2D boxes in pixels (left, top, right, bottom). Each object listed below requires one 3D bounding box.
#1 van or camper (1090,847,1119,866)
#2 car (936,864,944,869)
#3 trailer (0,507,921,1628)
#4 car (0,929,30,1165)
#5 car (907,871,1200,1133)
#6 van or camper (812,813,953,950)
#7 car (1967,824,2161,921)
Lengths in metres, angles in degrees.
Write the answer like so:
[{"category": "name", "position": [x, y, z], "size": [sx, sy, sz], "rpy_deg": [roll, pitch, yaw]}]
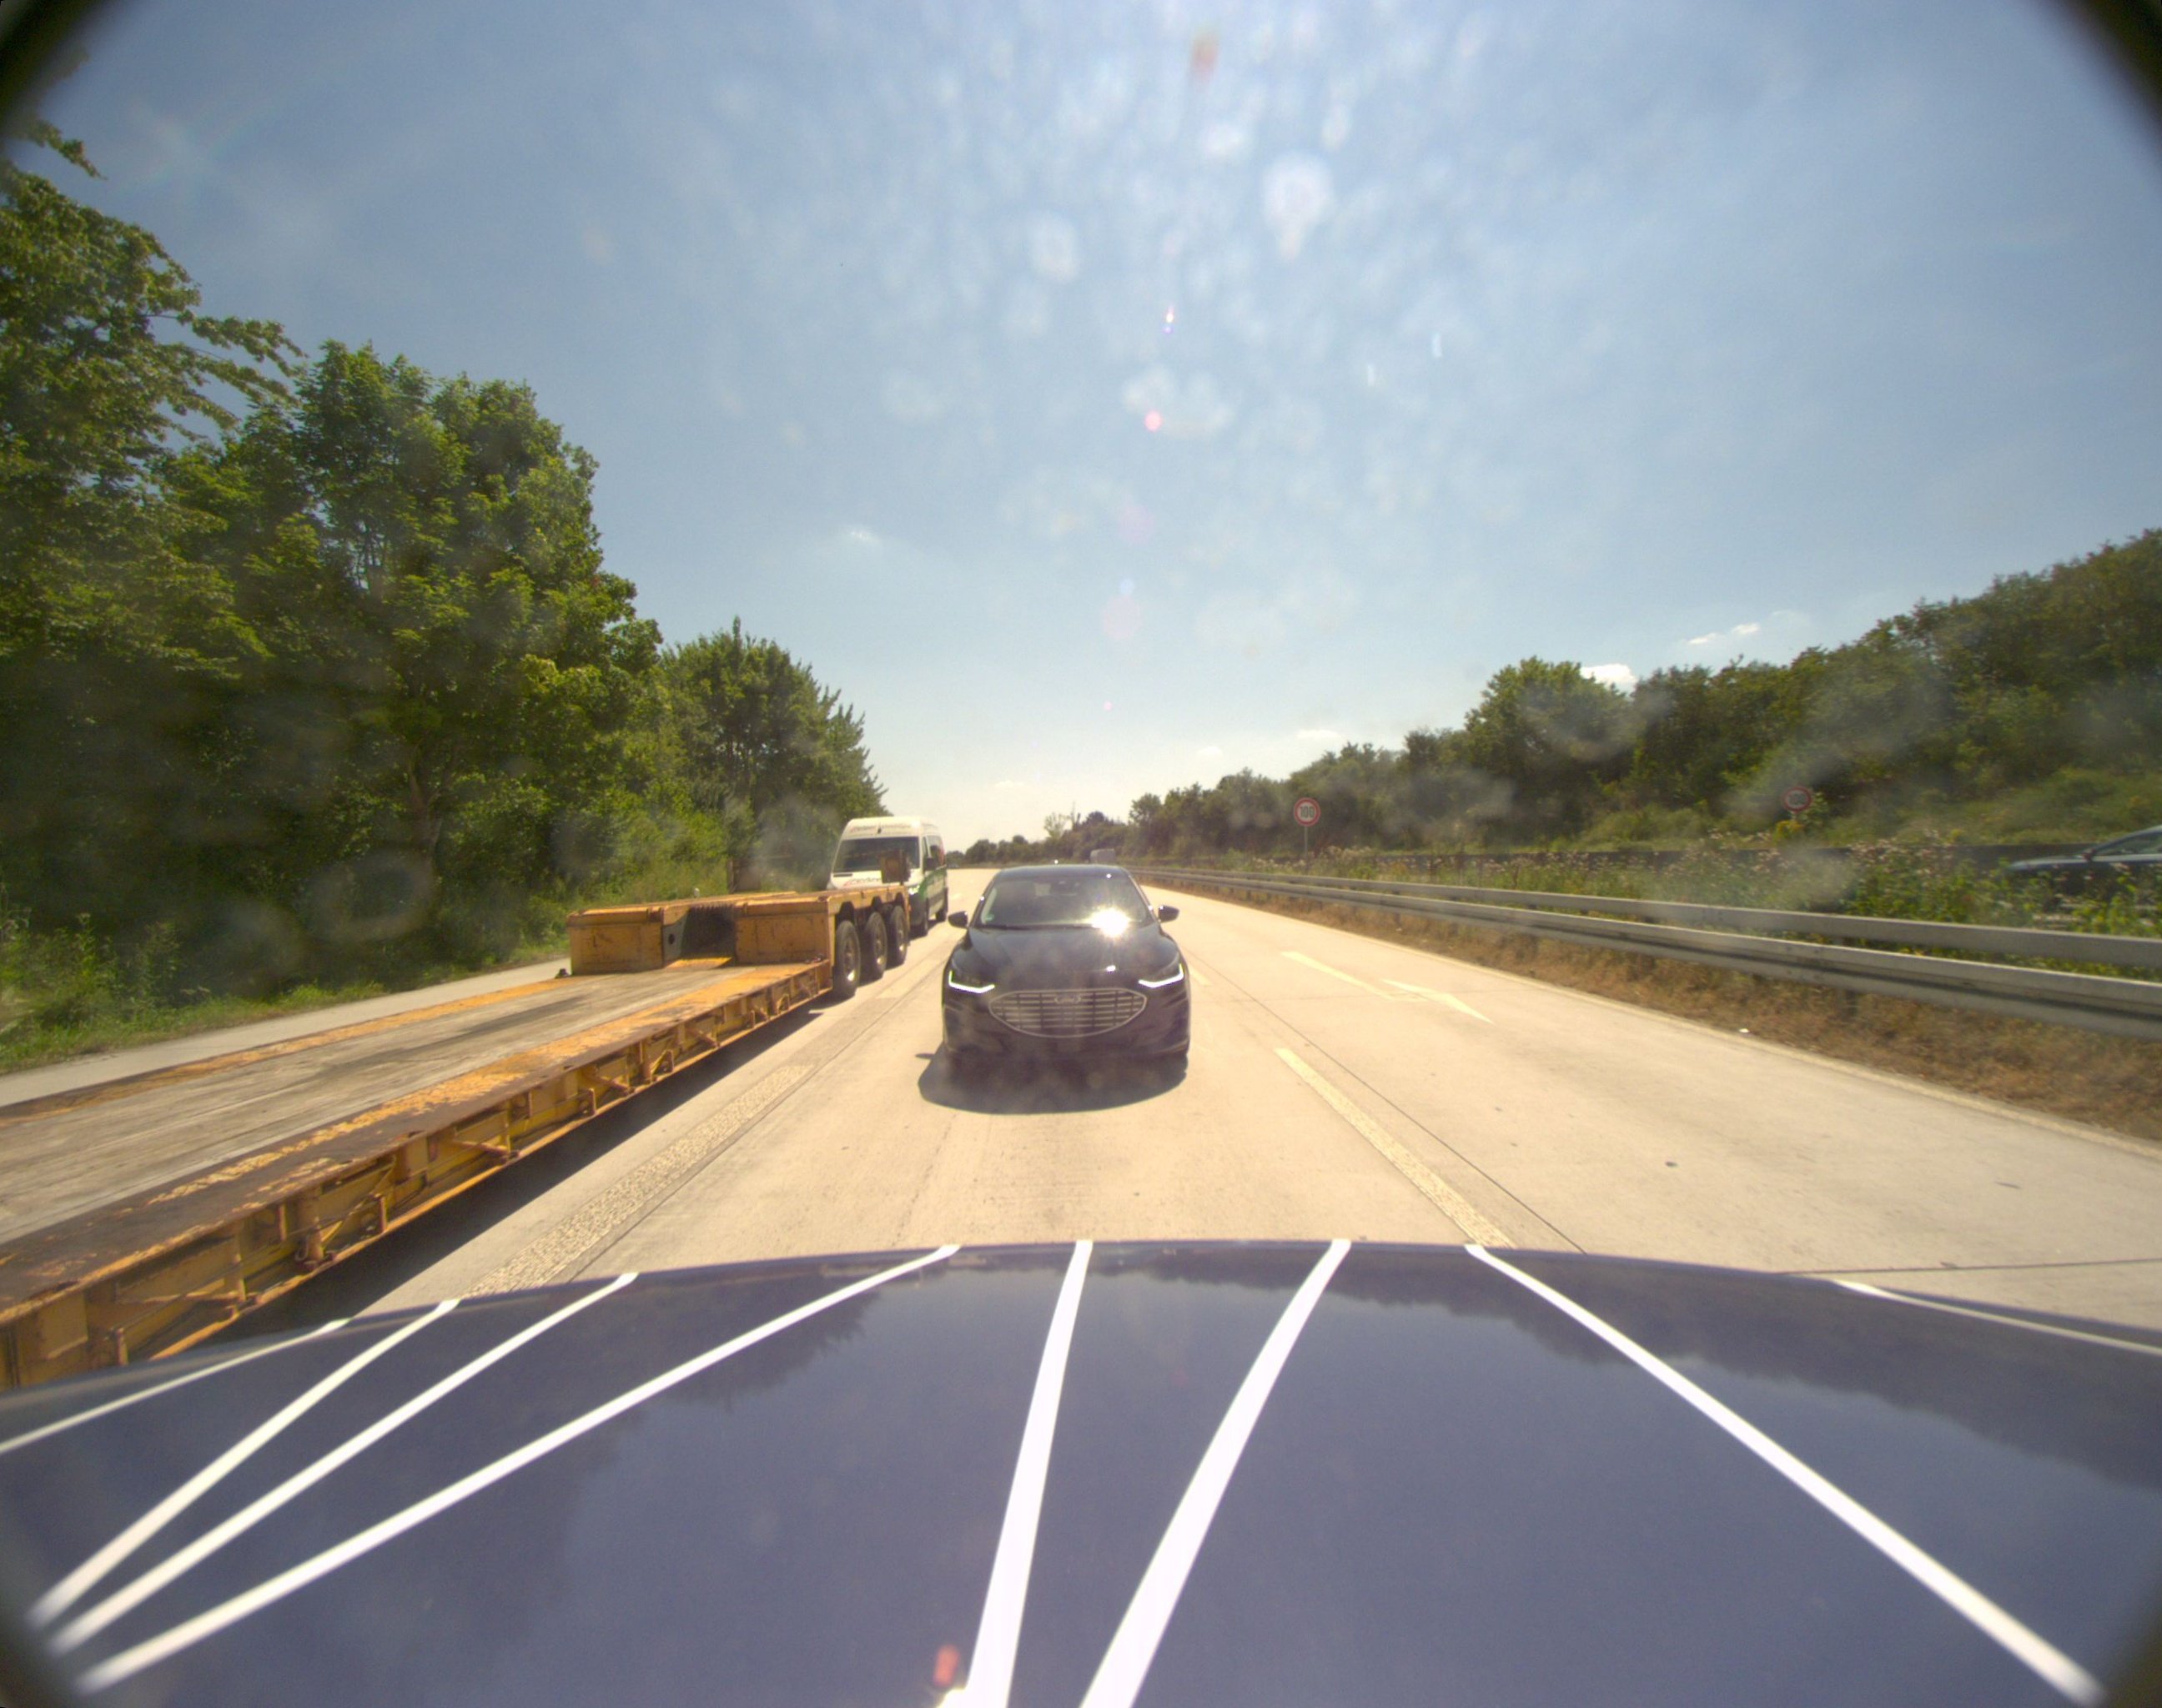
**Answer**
[{"category": "van or camper", "position": [2.502, 0.235, 83.015], "size": [2.179, 2.002, 5.634], "rpy_deg": [-2, 1, -7]}, {"category": "car", "position": [-45.411, 3.983, 245.385], "size": [1.709, 1.456, 3.992], "rpy_deg": [-3, 1, -23]}, {"category": "trailer", "position": [-4.037, 0.525, 3.805], "size": [3.035, 2.578, 16.355], "rpy_deg": [-2, 0, 0]}, {"category": "car", "position": [-7.582, 1.255, 2.525], "size": [1.772, 1.453, 4.597], "rpy_deg": [-2, 0, -1]}, {"category": "car", "position": [-0.137, 0.955, 6.785], "size": [1.731, 1.430, 4.304], "rpy_deg": [-2, 0, 1]}, {"category": "van or camper", "position": [-4.308, 0.505, 17.556], "size": [2.069, 2.559, 5.905], "rpy_deg": [-2, 1, -5]}, {"category": "car", "position": [17.377, 0.265, 11.710], "size": [1.878, 1.438, 4.600], "rpy_deg": [-2, 1, -5]}]
